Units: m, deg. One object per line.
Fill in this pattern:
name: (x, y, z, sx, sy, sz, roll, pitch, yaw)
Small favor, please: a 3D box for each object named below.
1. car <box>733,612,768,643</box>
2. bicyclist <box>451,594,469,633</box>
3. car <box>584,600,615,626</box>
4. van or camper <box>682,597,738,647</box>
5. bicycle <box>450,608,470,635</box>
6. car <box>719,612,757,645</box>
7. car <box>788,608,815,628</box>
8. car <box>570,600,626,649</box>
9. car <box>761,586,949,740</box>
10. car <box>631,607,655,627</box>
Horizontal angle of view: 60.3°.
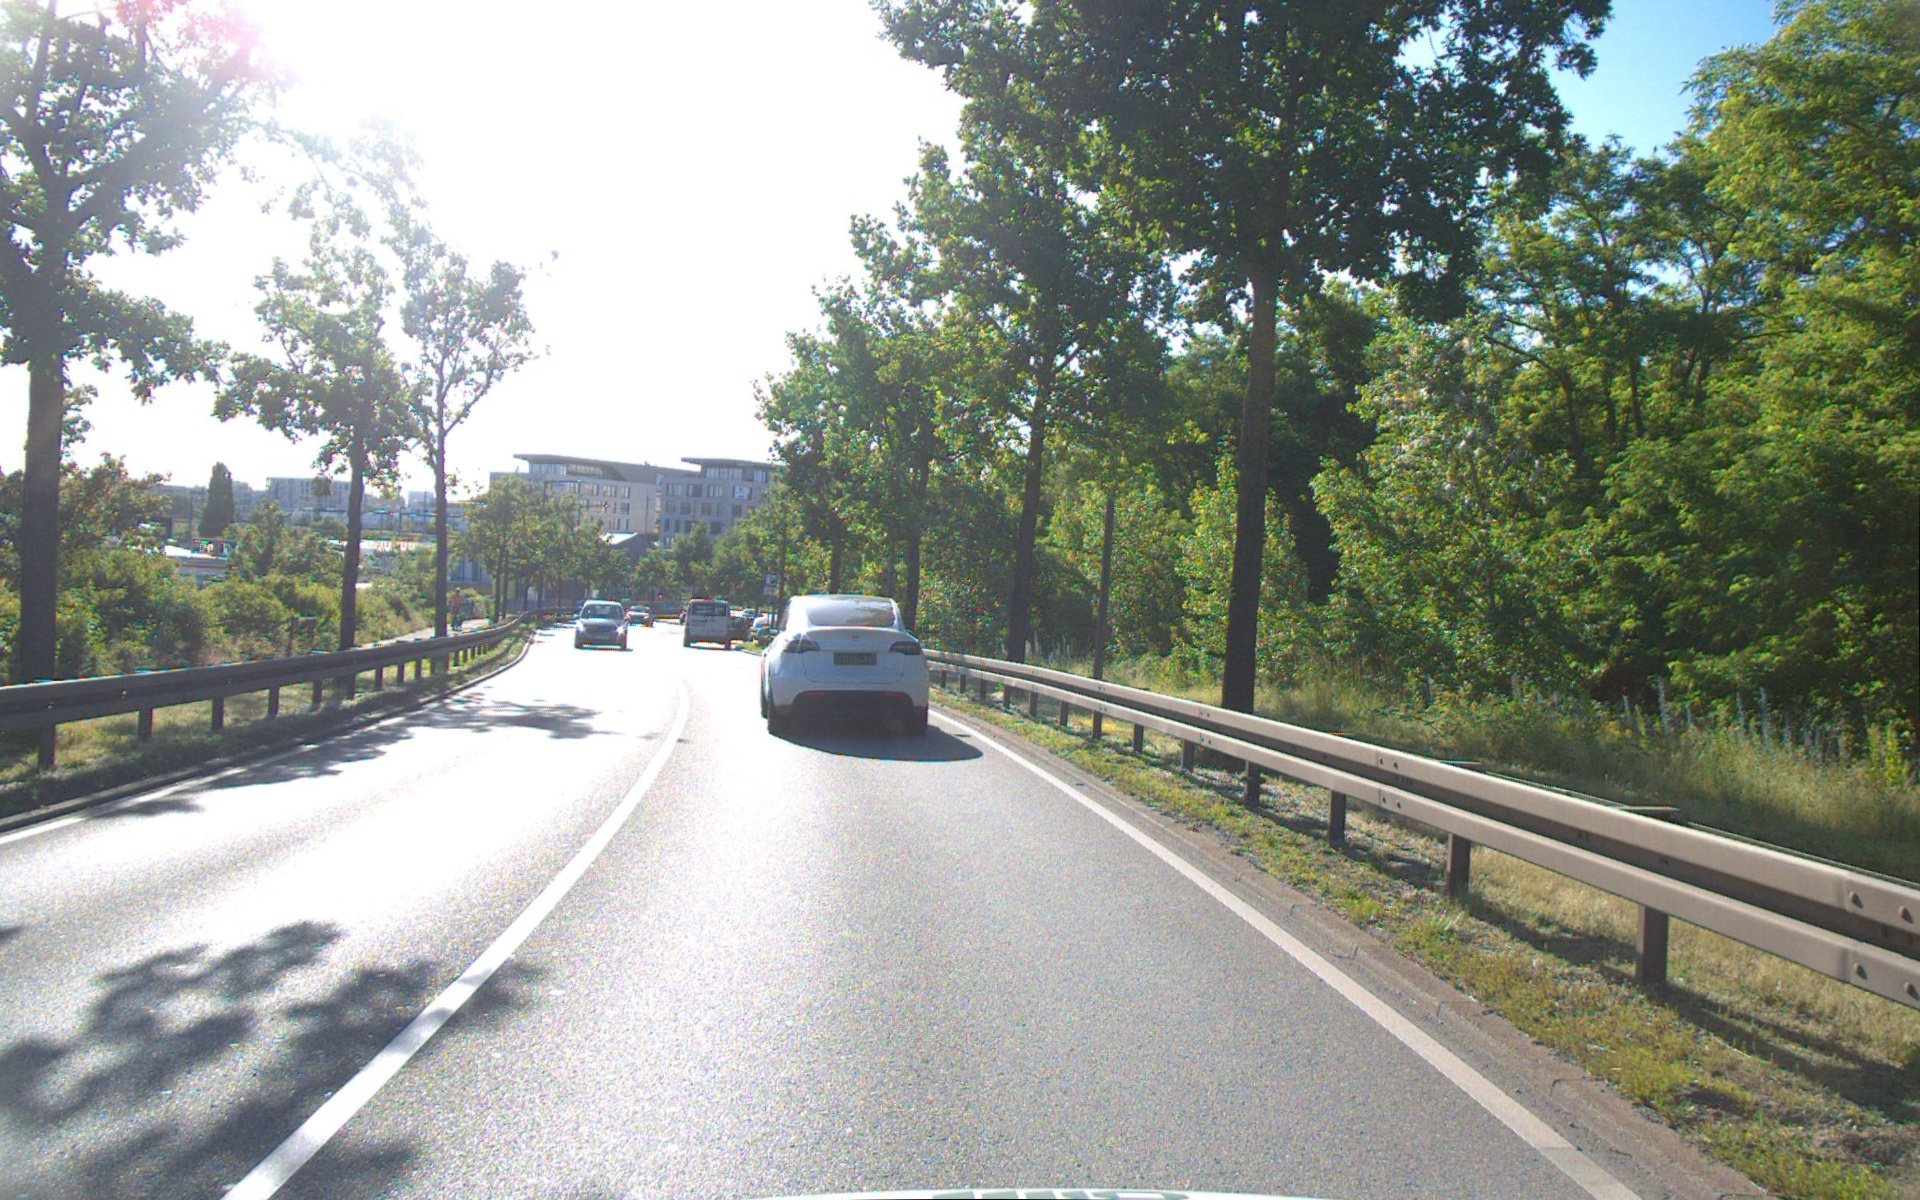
car: (-13.586, 1.766, 107.329, 1.872, 1.833, 4.125, 4, 0, -4)
bicyclist: (-21.501, 0.564, 71.092, 0.640, 1.652, 0.871, 2, -1, -13)
car: (-22.156, 0.785, 101.627, 1.817, 1.518, 4.701, 2, 0, -13)
van or camper: (-10.103, 0.871, 67.076, 1.920, 1.917, 4.874, 2, 0, -5)
bicycle: (-21.485, 0.920, 71.043, 0.649, 1.114, 2.101, 2, 0, -13)
car: (-11.253, 1.434, 83.757, 1.576, 1.459, 3.668, 4, 0, -11)
car: (-15.449, 1.763, 161.332, 1.870, 1.833, 4.129, 4, 0, 2)
car: (-12.481, 0.820, 57.109, 1.777, 1.581, 4.127, 2, 0, -12)
car: (-1.420, 0.713, 20.592, 1.879, 1.669, 4.400, 2, 0, -9)
car: (-23.751, 1.266, 123.781, 1.661, 1.466, 4.204, 2, 0, -11)
